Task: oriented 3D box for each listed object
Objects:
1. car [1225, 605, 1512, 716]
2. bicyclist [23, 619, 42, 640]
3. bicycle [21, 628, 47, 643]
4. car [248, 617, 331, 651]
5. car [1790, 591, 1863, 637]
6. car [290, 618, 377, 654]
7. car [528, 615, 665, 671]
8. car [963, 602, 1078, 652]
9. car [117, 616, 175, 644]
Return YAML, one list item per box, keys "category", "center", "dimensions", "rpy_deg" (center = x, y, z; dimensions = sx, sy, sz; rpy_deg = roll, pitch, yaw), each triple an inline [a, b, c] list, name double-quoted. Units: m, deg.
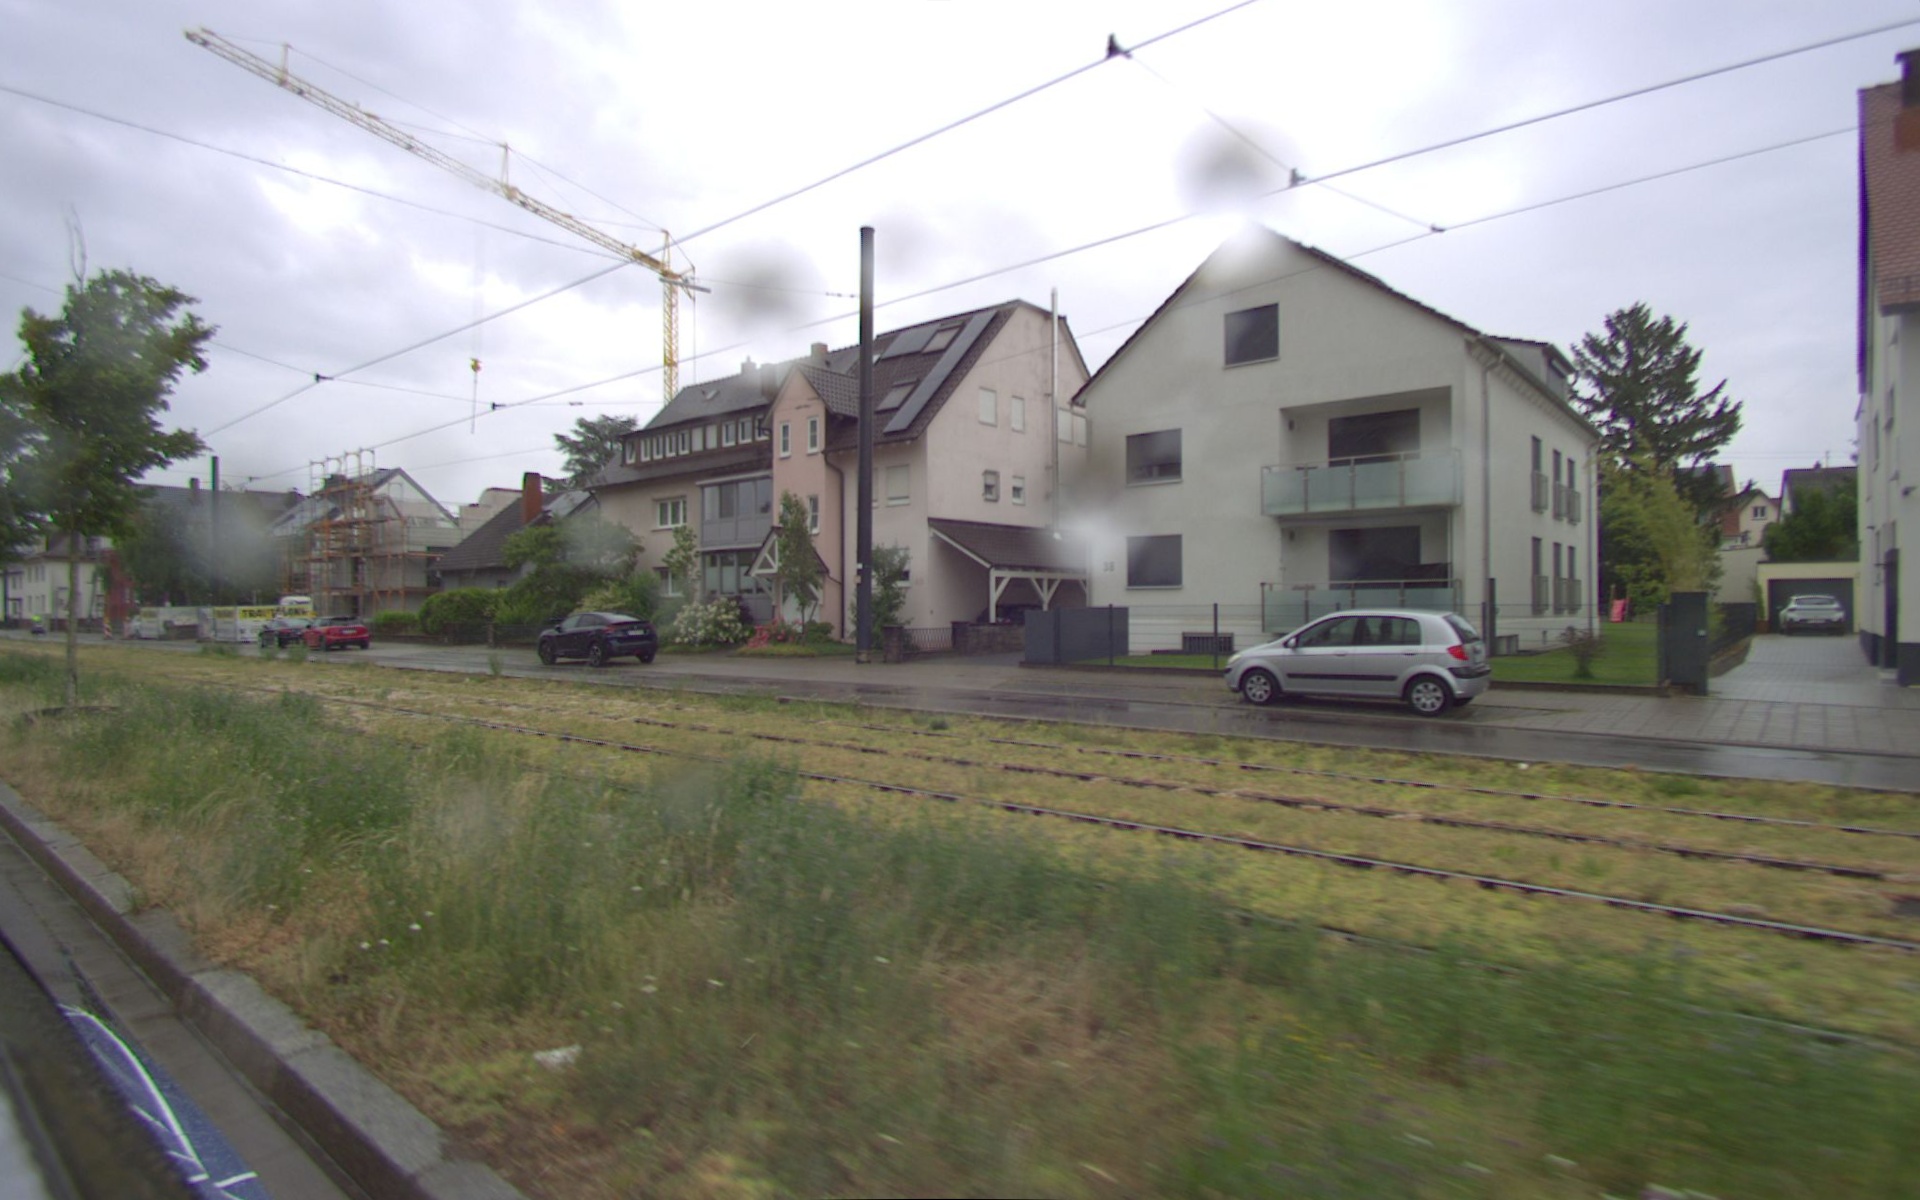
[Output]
- category: "car"
  center: [6.150, 0.818, 15.365]
  dimensions: [3.654, 1.424, 1.974]
  rpy_deg: [0, 1, 39]
- category: "bicyclist"
  center: [-72.507, 2.296, 79.111]
  dimensions: [1.399, 1.596, 0.944]
  rpy_deg: [0, 1, 39]
- category: "bicycle"
  center: [-72.171, 2.758, 78.867]
  dimensions: [3.429, 1.051, 0.925]
  rpy_deg: [-1, -1, 38]
- category: "car"
  center: [-30.520, 1.567, 46.056]
  dimensions: [4.170, 1.420, 1.974]
  rpy_deg: [-3, -1, 39]
- category: "car"
  center: [32.874, 0.479, 38.468]
  dimensions: [1.998, 1.630, 3.947]
  rpy_deg: [0, 1, 40]
- category: "car"
  center: [-26.475, 1.479, 42.718]
  dimensions: [3.839, 1.383, 1.974]
  rpy_deg: [0, 1, 39]
- category: "car"
  center: [-10.542, 1.215, 29.214]
  dimensions: [4.170, 1.437, 1.819]
  rpy_deg: [-2, 0, 39]
- category: "car"
  center: [2.056, 0.848, 33.642]
  dimensions: [1.840, 1.512, 3.947]
  rpy_deg: [0, 1, 40]
- category: "car"
  center: [-52.901, 1.912, 65.774]
  dimensions: [4.244, 1.640, 1.975]
  rpy_deg: [0, 1, 38]
